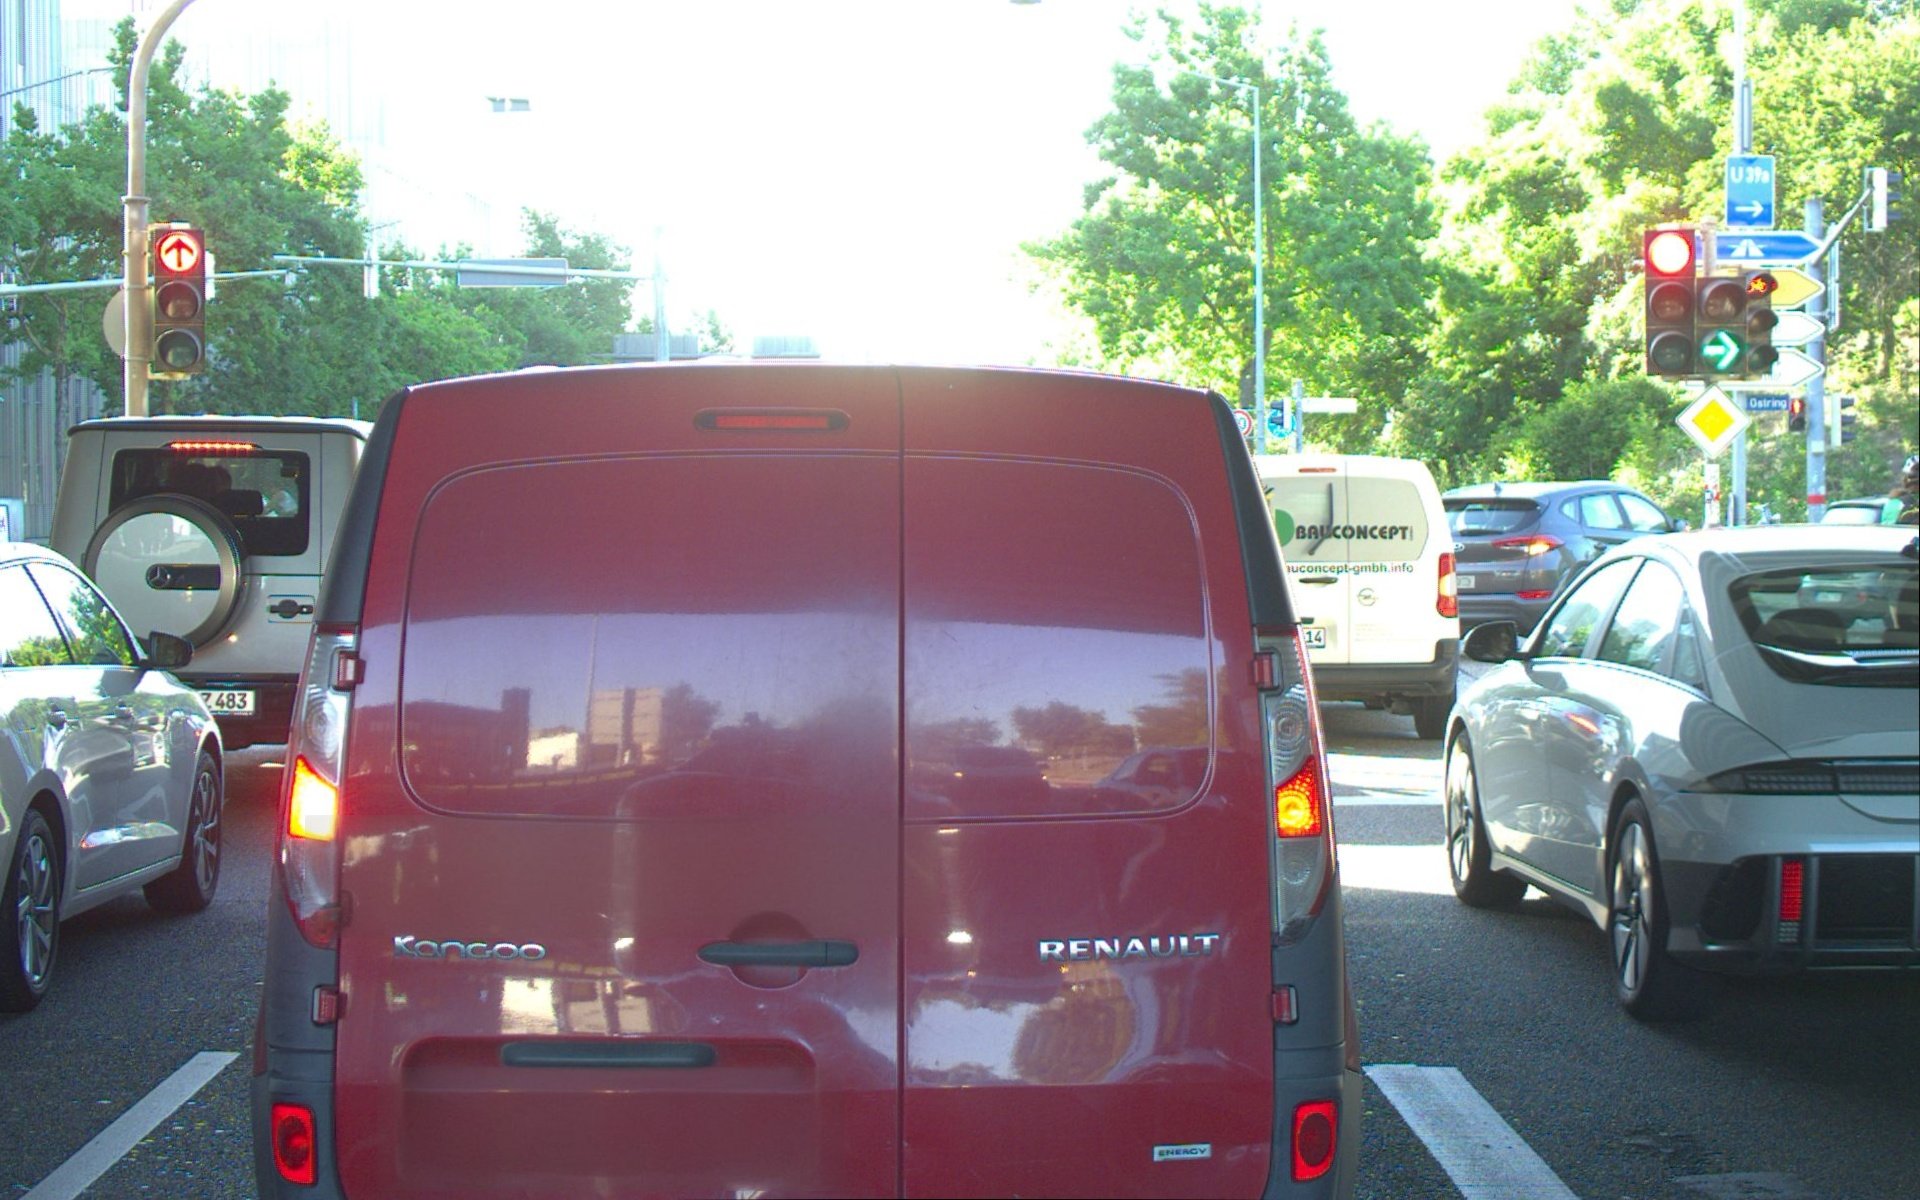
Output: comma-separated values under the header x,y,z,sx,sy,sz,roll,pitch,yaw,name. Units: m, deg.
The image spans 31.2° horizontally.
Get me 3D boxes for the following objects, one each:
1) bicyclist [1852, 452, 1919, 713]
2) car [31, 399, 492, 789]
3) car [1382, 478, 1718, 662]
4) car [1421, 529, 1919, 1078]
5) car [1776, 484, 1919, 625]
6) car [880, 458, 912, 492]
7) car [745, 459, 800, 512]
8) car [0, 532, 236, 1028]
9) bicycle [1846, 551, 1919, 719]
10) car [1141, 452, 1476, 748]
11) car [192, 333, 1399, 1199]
x,y,z,sx,sy,sz,roll,pitch,yaw,name
6.022,-0.110,21.705,0.677,1.623,0.644,1,0,10,bicyclist
-3.694,-0.068,18.813,1.813,1.897,3.814,1,1,-1,car
5.746,-0.349,33.127,1.808,1.616,4.101,1,3,31,car
2.825,0.501,11.474,1.745,1.451,4.665,1,1,-2,car
11.052,-0.465,37.277,3.874,1.459,1.844,1,1,-19,car
-4.110,-7.998,220.601,1.993,2.007,4.000,1,1,-1,car
-7.437,-4.533,136.658,1.993,2.007,4.000,1,1,-1,car
-3.629,0.480,11.487,1.692,1.405,3.814,1,1,-1,car
6.018,0.208,21.725,0.677,1.020,1.528,1,1,10,bicycle
2.289,-0.074,23.643,1.813,1.827,4.301,1,2,0,car
-0.263,0.467,6.943,1.719,1.758,4.000,1,1,-1,car
